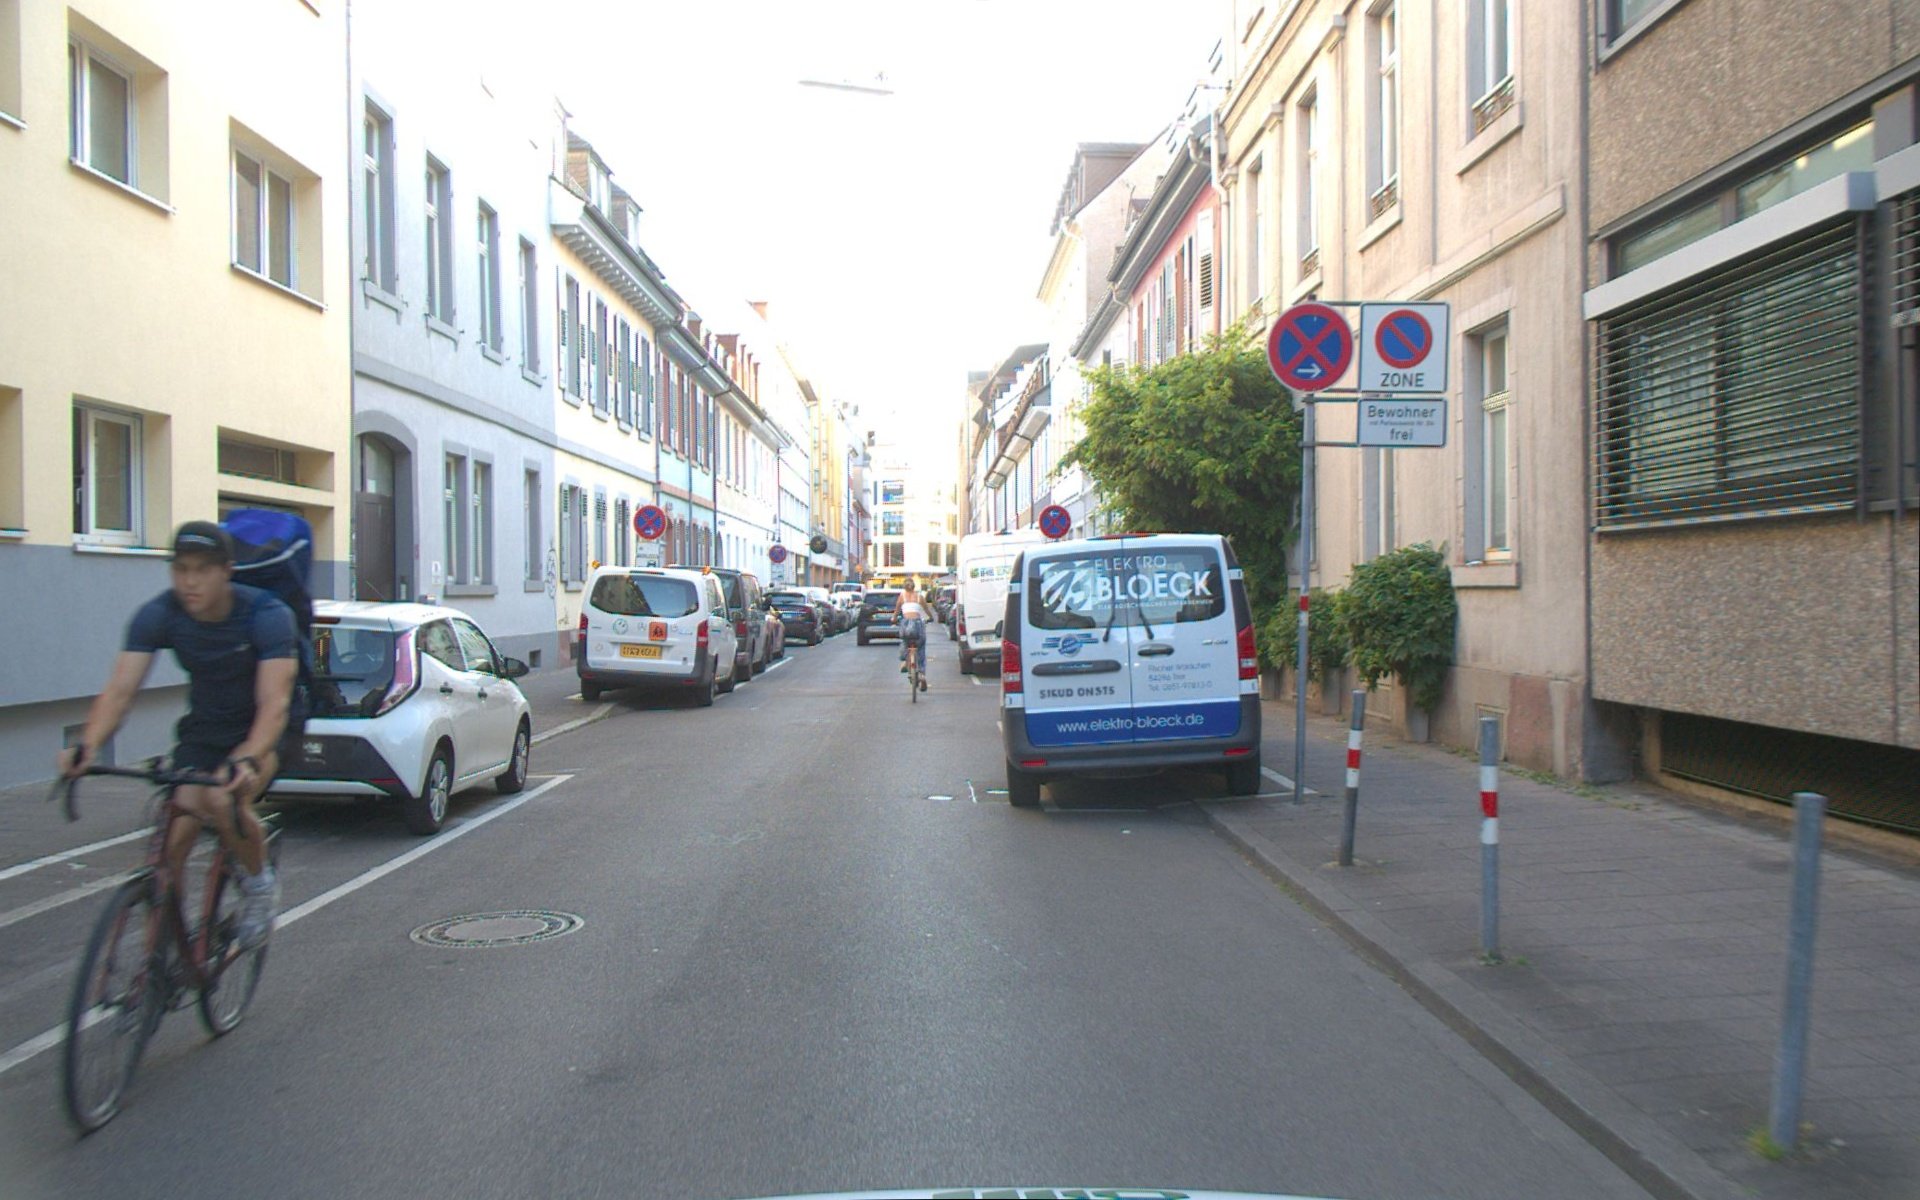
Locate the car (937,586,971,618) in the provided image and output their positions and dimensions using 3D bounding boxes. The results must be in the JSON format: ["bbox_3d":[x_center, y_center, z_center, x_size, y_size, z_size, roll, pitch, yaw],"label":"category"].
[{"bbox_3d":[-0.334,0.096,83.334,1.620,1.588,3.605,1,0,-1],"label":"car"}]

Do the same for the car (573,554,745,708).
[{"bbox_3d":[-4.362,0.397,24.723,1.825,2.049,5.103,-1,0,-3],"label":"car"}]

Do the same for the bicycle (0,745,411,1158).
[{"bbox_3d":[-2.351,1.013,5.295,0.621,0.938,1.779,0,0,-1],"label":"bicycle"}]

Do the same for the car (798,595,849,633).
[{"bbox_3d":[-5.448,0.545,66.393,1.880,1.459,4.291,1,0,-3],"label":"car"}]

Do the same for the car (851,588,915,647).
[{"bbox_3d":[-2.215,0.482,48.232,1.783,1.646,3.999,1,0,-2],"label":"car"}]

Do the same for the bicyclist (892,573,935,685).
[{"bbox_3d":[-0.672,0.417,24.159,0.608,1.602,0.683,0,0,0],"label":"bicyclist"}]

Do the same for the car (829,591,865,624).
[{"bbox_3d":[-5.631,0.380,82.929,1.620,1.588,3.605,1,0,-1],"label":"car"}]

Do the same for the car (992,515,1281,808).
[{"bbox_3d":[1.273,0.393,13.673,1.896,1.931,5.278,-1,0,2],"label":"car"}]

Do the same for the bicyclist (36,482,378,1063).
[{"bbox_3d":[-2.353,0.493,5.295,0.610,1.668,1.081,0,0,-1],"label":"bicyclist"}]

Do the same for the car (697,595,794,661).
[{"bbox_3d":[-4.877,0.604,38.132,1.729,1.426,4.262,0,0,-1],"label":"car"}]

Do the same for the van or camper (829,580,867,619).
[{"bbox_3d":[-5.985,-0.032,88.768,1.807,2.048,4.677,1,0,-1],"label":"van or camper"}]

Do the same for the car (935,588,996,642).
[{"bbox_3d":[0.182,0.461,53.809,1.782,1.556,5.071,-4,0,0],"label":"car"}]

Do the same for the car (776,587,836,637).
[{"bbox_3d":[-5.561,0.420,60.141,1.958,1.737,4.533,1,0,-3],"label":"car"}]

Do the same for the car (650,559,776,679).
[{"bbox_3d":[-4.550,0.317,31.120,1.825,2.049,4.811,-1,0,-3],"label":"car"}]

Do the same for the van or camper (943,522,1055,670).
[{"bbox_3d":[0.695,-0.094,33.687,2.008,2.683,7.062,-1,0,0],"label":"van or camper"}]

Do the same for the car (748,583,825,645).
[{"bbox_3d":[-5.049,0.387,48.697,1.766,1.706,4.489,-1,0,0],"label":"car"}]

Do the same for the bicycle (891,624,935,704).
[{"bbox_3d":[-0.671,0.914,24.164,0.601,1.101,1.809,0,0,0],"label":"bicycle"}]

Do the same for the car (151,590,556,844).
[{"bbox_3d":[-4.139,0.716,11.880,1.628,1.474,3.519,3,0,-2],"label":"car"}]

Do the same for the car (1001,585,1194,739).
[{"bbox_3d":[1.440,0.617,18.580,1.622,1.531,3.751,-1,0,-4],"label":"car"}]

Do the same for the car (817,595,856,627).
[{"bbox_3d":[-5.809,0.511,77.944,1.620,1.435,3.605,1,0,-1],"label":"car"}]
